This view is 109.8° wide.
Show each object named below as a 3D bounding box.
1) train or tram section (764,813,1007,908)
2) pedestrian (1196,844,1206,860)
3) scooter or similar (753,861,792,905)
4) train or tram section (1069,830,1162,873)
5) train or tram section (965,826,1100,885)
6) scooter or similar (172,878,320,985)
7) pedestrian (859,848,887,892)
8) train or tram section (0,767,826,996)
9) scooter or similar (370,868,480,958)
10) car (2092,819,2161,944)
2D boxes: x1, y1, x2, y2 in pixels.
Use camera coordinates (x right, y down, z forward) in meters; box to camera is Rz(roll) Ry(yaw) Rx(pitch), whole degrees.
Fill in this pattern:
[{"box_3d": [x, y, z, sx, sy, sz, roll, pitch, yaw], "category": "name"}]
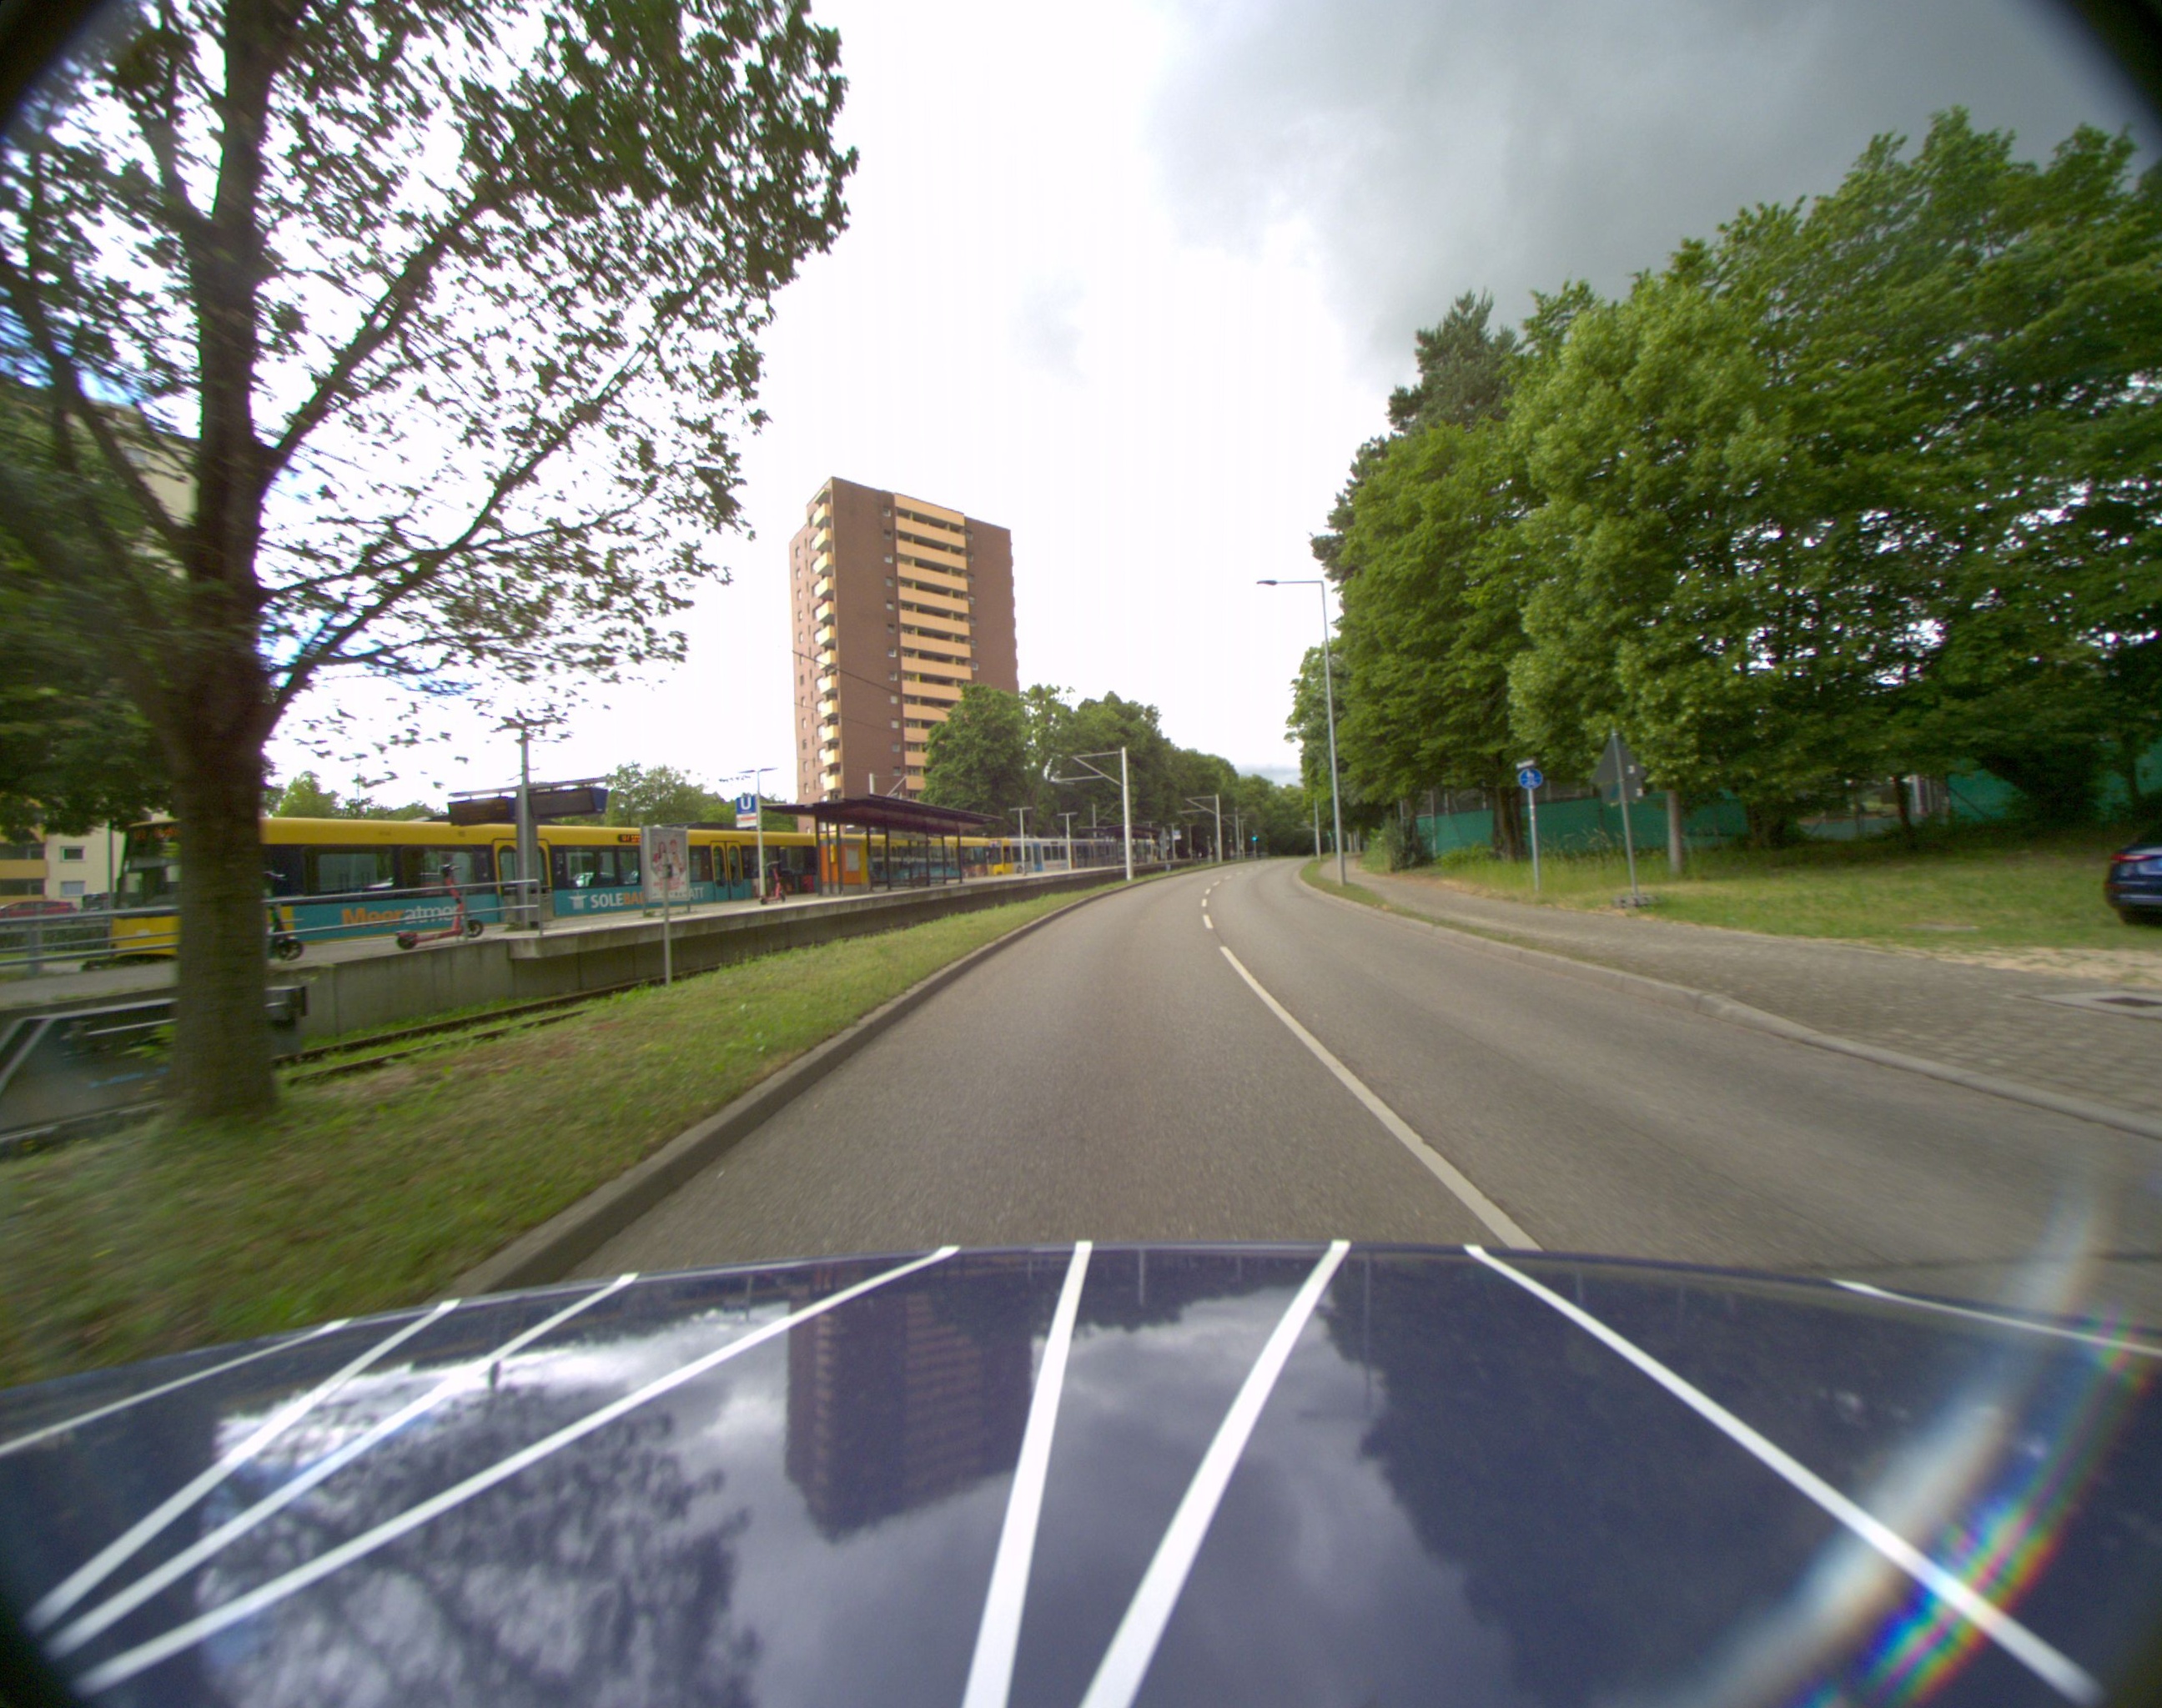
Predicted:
[{"box_3d": [-9.062, 0.207, 40.802, 2.817, 3.714, 19.536, -4, -1, 16], "category": "train or tram section"}, {"box_3d": [14.096, -0.244, 89.561, 0.985, 1.747, 0.730, -4, -1, 13], "category": "pedestrian"}, {"box_3d": [-9.057, 0.846, 22.341, 0.369, 1.235, 1.147, -3, 0, 15], "category": "scooter or similar"}, {"box_3d": [3.952, -0.379, 76.898, 2.816, 3.714, 18.559, -4, -1, 23], "category": "train or tram section"}, {"box_3d": [-3.061, -0.019, 59.386, 2.817, 3.776, 18.959, -4, -1, 20], "category": "train or tram section"}, {"box_3d": [-11.010, 0.987, 10.079, 0.431, 1.246, 1.254, -2, 2, 3], "category": "scooter or similar"}, {"box_3d": [-7.616, 0.590, 27.796, 0.623, 1.564, 0.666, -2, 1, 33], "category": "pedestrian"}, {"box_3d": [-14.393, 0.429, 21.839, 2.818, 3.567, 19.534, -4, -1, 15], "category": "train or tram section"}, {"box_3d": [-10.082, 0.879, 11.728, 0.430, 1.246, 1.255, -2, 2, 7], "category": "scooter or similar"}, {"box_3d": [13.799, 0.220, 8.168, 3.999, 1.319, 1.715, -4, 3, -6], "category": "car"}]
